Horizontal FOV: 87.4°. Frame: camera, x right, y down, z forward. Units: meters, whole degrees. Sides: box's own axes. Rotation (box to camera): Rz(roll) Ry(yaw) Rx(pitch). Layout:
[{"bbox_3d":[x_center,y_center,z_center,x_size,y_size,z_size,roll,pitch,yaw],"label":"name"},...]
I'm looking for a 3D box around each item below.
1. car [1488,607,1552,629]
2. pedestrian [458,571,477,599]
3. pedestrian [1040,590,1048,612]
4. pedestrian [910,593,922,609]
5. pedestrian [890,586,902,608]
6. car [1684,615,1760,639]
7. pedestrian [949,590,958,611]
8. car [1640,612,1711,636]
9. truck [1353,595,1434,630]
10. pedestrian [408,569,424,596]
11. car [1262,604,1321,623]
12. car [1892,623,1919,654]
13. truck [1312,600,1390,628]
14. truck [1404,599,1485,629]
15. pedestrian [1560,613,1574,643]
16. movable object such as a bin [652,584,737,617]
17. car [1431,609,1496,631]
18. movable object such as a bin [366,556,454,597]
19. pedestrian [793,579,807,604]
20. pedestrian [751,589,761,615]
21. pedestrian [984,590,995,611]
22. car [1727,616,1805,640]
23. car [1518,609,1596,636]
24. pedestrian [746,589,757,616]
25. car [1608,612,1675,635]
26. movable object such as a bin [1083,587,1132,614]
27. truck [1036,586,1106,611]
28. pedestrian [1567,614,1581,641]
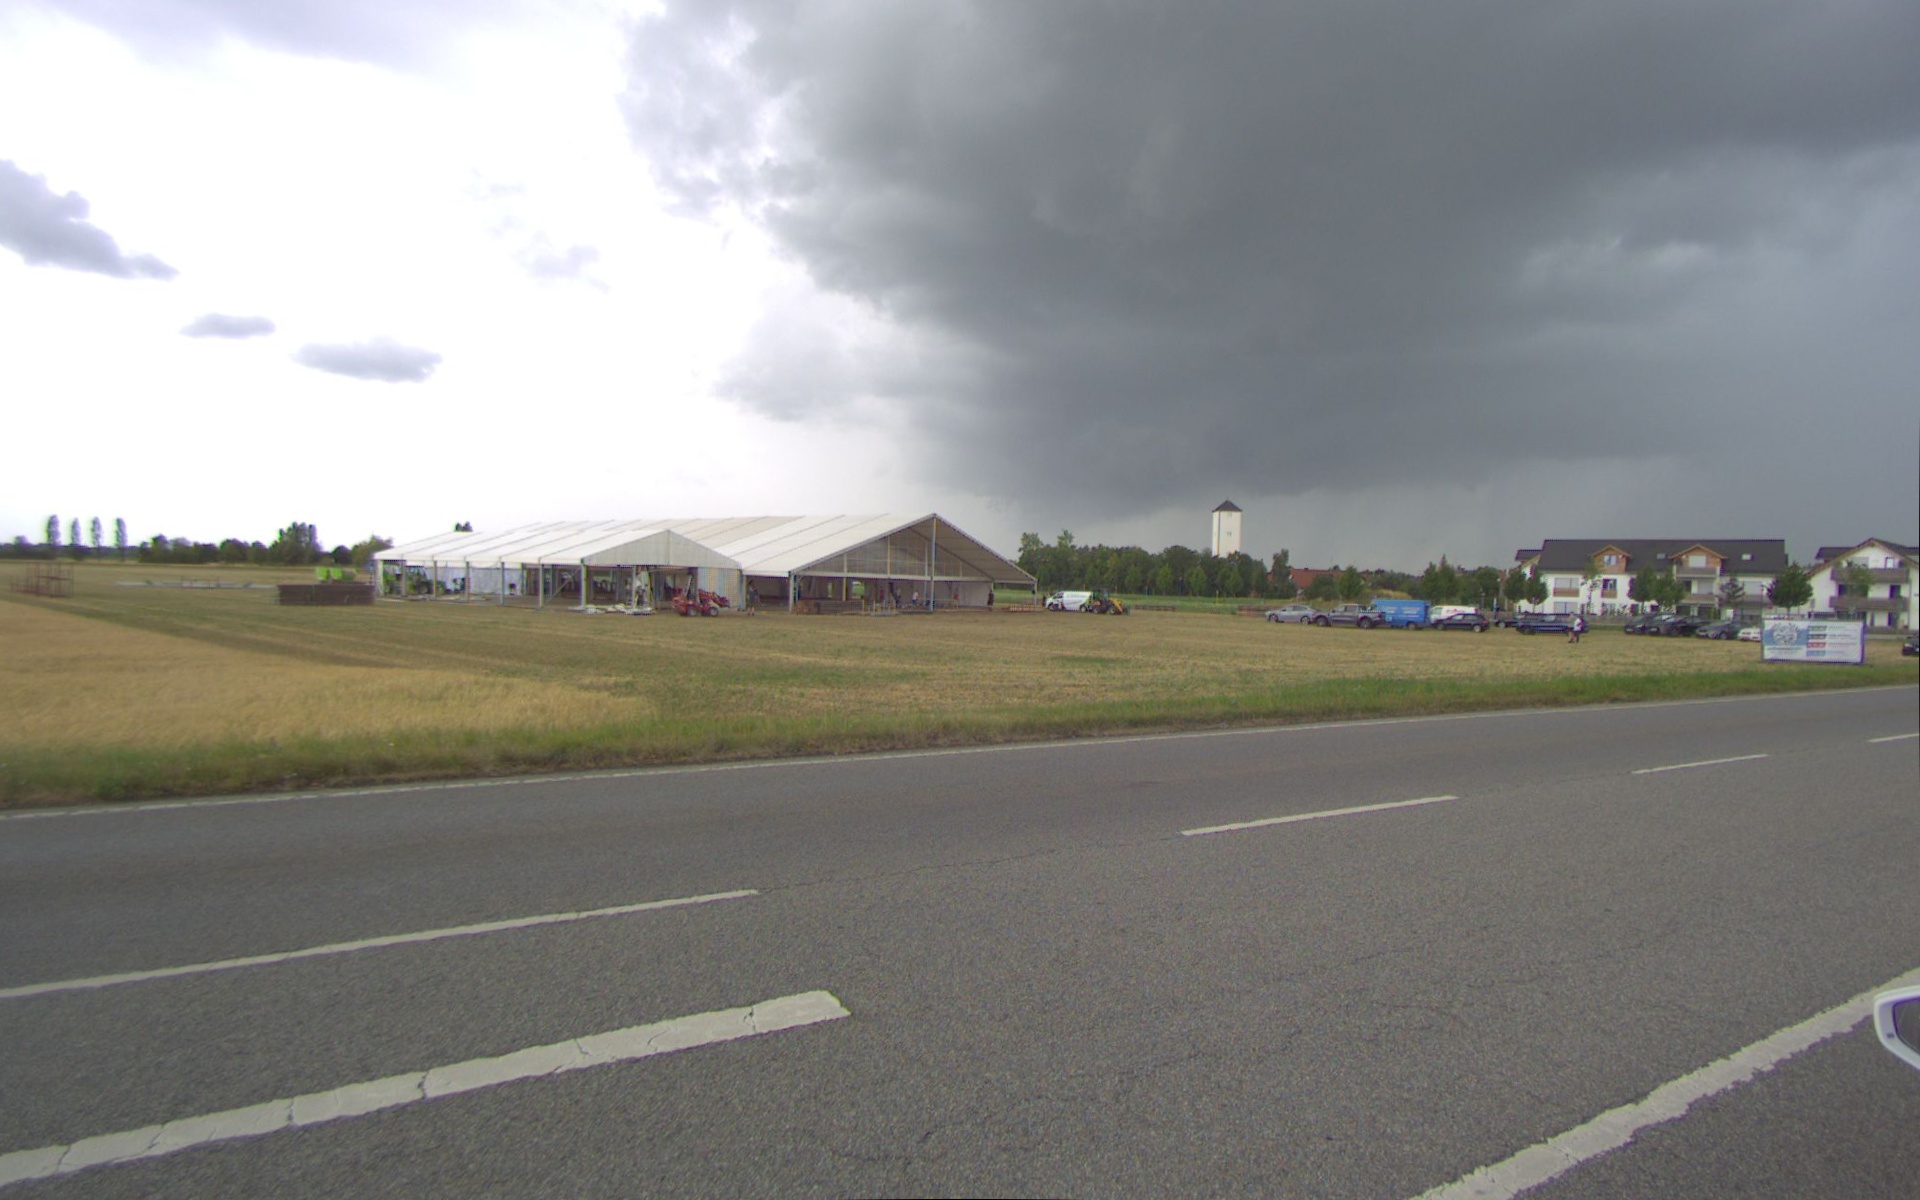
[{"bbox_3d":[48.844,1.589,87.631,4.570,1.720,1.991,2,1,40],"label":"car"},{"bbox_3d":[-36.684,-1.084,74.809,1.005,2.040,0.806,2,1,-3],"label":"pedestrian"},{"bbox_3d":[7.468,0.089,89.298,0.694,1.891,0.626,2,1,7],"label":"pedestrian"},{"bbox_3d":[-3.643,0.076,83.004,0.689,1.288,0.682,1,1,-41],"label":"pedestrian"},{"bbox_3d":[-5.345,-0.261,84.225,0.689,1.799,0.682,1,1,-41],"label":"pedestrian"},{"bbox_3d":[53.771,1.878,70.901,4.138,1.556,1.995,1,0,-12],"label":"car"},{"bbox_3d":[-0.568,0.052,86.596,0.681,1.799,0.690,2,1,-5],"label":"pedestrian"},{"bbox_3d":[52.672,1.749,74.005,4.138,1.651,1.995,1,0,-12],"label":"car"},{"bbox_3d":[33.575,0.918,77.858,5.378,2.478,2.385,2,1,37],"label":"truck"},{"bbox_3d":[-42.573,-1.349,78.602,1.009,2.040,0.803,2,1,39],"label":"pedestrian"},{"bbox_3d":[27.397,1.099,82.989,4.236,1.481,1.886,2,1,34],"label":"car"},{"bbox_3d":[49.649,1.960,51.758,3.969,1.461,1.976,0,1,-42],"label":"car"},{"bbox_3d":[29.715,1.050,76.364,5.155,1.946,2.106,2,1,34],"label":"truck"},{"bbox_3d":[39.665,1.152,82.301,5.494,2.226,2.597,2,1,37],"label":"truck"},{"bbox_3d":[36.885,1.711,61.018,0.673,1.809,0.543,1,1,-42],"label":"pedestrian"},{"bbox_3d":[-16.267,0.025,61.676,2.555,1.889,4.457,2,1,36],"label":"movable object such as a bin"},{"bbox_3d":[38.981,1.508,77.809,4.105,1.539,1.991,2,1,40],"label":"car"},{"bbox_3d":[-47.208,-2.042,86.176,7.466,3.220,4.140,3,1,39],"label":"movable object such as a bin"},{"bbox_3d":[-13.006,-0.688,81.615,0.869,2.040,0.760,1,1,-35],"label":"pedestrian"},{"bbox_3d":[-13.079,0.144,64.470,0.574,1.649,0.469,1,1,-16],"label":"pedestrian"},{"bbox_3d":[2.539,0.063,86.469,0.684,1.799,0.687,2,1,41],"label":"pedestrian"},{"bbox_3d":[54.775,1.900,68.295,4.138,1.465,1.995,1,0,-12],"label":"car"},{"bbox_3d":[43.900,1.624,73.870,4.659,1.720,1.991,2,1,40],"label":"car"},{"bbox_3d":[-13.092,0.165,63.036,0.541,1.649,0.546,2,1,-3],"label":"pedestrian"},{"bbox_3d":[52.675,1.836,77.648,4.138,1.651,1.995,1,0,-12],"label":"car"},{"bbox_3d":[13.185,0.048,89.859,3.928,2.273,1.881,2,1,32],"label":"movable object such as a bin"},{"bbox_3d":[10.589,-0.128,95.896,5.960,2.246,2.713,2,1,33],"label":"truck"},{"bbox_3d":[37.685,1.687,61.642,0.582,1.576,0.623,2,1,41],"label":"pedestrian"}]
